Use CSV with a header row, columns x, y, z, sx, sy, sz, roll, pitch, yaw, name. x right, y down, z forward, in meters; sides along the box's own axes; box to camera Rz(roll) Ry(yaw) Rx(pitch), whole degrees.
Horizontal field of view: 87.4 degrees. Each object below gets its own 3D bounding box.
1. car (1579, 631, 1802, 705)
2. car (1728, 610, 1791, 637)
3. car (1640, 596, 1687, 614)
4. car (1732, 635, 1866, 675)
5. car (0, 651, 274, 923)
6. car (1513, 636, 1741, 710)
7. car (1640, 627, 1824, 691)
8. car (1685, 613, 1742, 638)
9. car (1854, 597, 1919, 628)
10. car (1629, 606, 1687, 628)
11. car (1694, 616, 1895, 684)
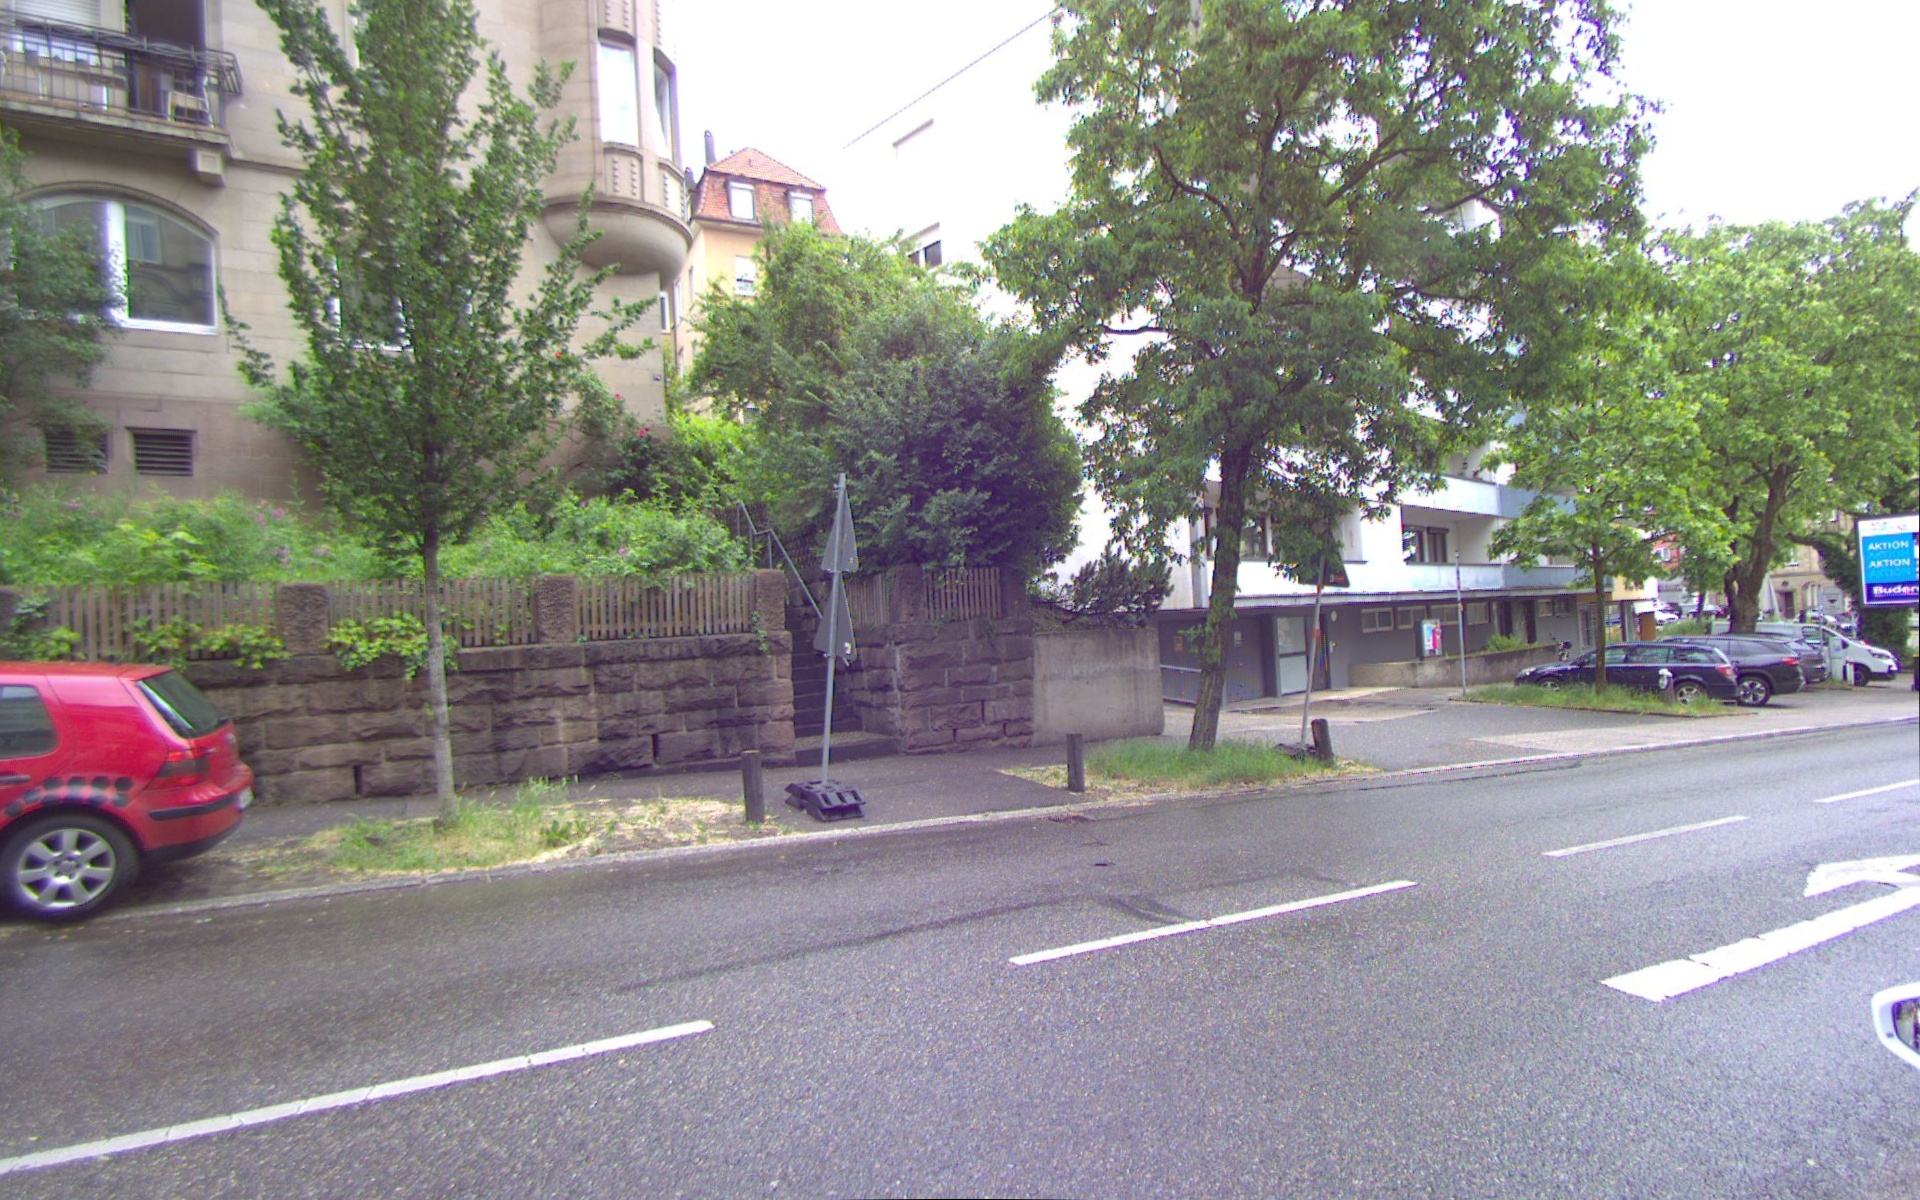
x,y,z,sx,sy,sz,roll,pitch,yaw,name
18.066,1.673,25.014,4.312,1.694,1.848,-3,-4,38,car
69.276,1.998,87.111,1.961,2.130,4.291,-1,1,-1,car
68.914,0.518,98.450,1.694,1.711,3.999,2,0,-2,car
32.765,2.127,39.352,3.925,1.469,1.761,-2,-3,40,car
-6.508,1.062,5.829,4.015,1.470,1.606,1,-2,-30,car
15.707,1.697,23.759,4.303,1.594,1.935,-3,-4,38,car
23.421,1.753,30.606,4.305,1.807,1.931,-2,-3,40,car
69.061,2.287,92.148,1.961,2.130,4.291,-1,1,-1,car
69.494,0.902,74.826,1.961,2.130,4.291,-1,1,-1,car
60.656,1.491,87.387,1.961,1.749,4.249,-2,-1,-1,car
27.670,1.642,33.521,5.000,2.132,1.983,-2,-3,40,car
